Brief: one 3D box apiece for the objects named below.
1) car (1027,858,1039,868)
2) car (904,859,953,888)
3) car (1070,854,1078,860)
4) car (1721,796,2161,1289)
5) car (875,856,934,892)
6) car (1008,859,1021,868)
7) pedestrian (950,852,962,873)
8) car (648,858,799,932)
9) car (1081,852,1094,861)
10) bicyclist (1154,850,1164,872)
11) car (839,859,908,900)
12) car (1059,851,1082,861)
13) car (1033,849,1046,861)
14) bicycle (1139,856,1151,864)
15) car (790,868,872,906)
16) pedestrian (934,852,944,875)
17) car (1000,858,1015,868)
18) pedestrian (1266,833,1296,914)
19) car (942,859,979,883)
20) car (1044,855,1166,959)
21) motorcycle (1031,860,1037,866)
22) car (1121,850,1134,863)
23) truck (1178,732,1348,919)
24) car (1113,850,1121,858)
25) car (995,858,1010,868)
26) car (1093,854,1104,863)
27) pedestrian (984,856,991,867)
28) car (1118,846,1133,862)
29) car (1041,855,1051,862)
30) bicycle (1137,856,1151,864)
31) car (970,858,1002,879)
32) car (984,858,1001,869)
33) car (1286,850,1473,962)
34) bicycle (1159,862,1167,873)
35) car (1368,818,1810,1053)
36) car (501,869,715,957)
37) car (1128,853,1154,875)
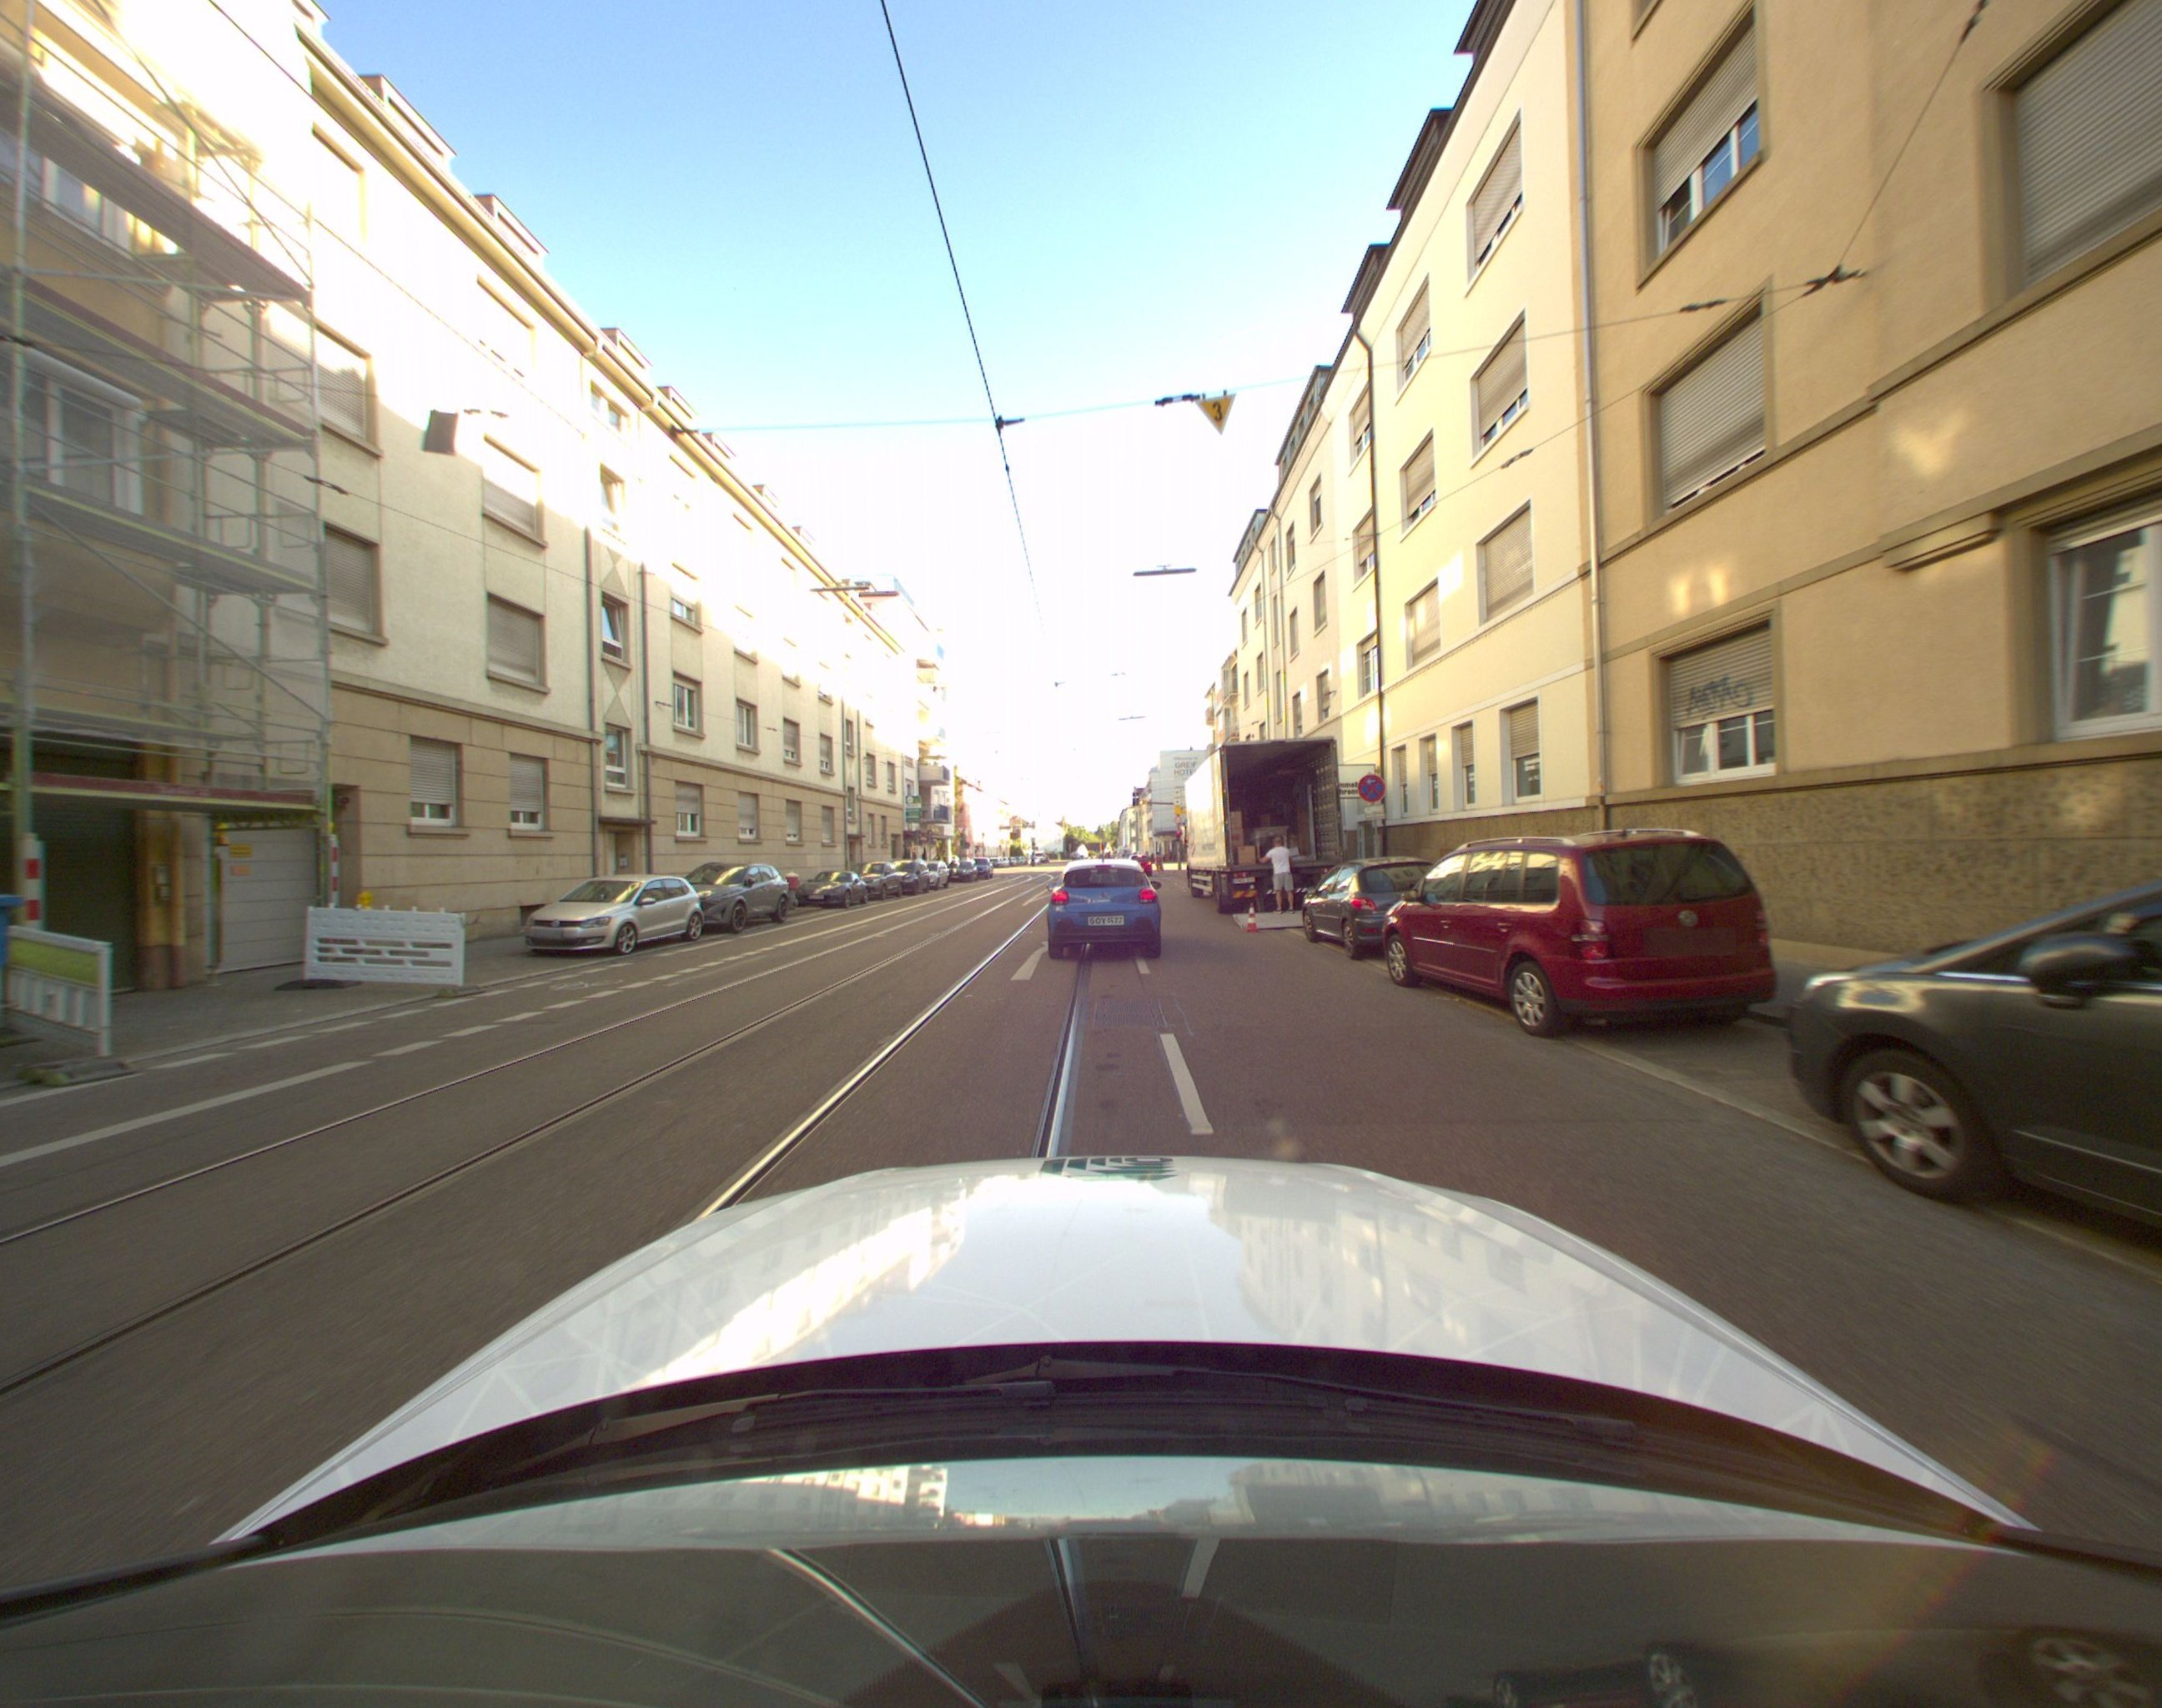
[{"bbox_3d":[-8.428,1.569,142.802,1.844,1.574,4.400,-1,0,0],"label":"car"},{"bbox_3d":[-8.127,1.019,43.658,1.693,1.509,4.387,0,-1,1],"label":"car"},{"bbox_3d":[-1.817,0.886,213.918,2.014,1.525,4.000,-1,0,1],"label":"car"},{"bbox_3d":[4.475,0.590,2.352,1.784,1.651,4.366,-3,0,0],"label":"car"},{"bbox_3d":[-8.146,0.907,37.990,1.693,1.615,4.245,0,-1,2],"label":"car"},{"bbox_3d":[-11.614,1.604,142.615,1.904,1.497,4.000,-2,0,1],"label":"car"},{"bbox_3d":[-9.142,0.607,59.638,0.694,1.548,0.722,-2,0,5],"label":"pedestrian"},{"bbox_3d":[-8.823,0.945,20.561,1.693,1.568,4.408,-2,0,2],"label":"car"},{"bbox_3d":[1.132,0.376,134.654,1.986,1.508,4.001,-2,0,2],"label":"car"},{"bbox_3d":[6.084,0.526,63.403,0.723,1.646,0.791,-2,0,4],"label":"bicyclist"},{"bbox_3d":[-8.510,1.008,33.720,1.693,1.569,4.002,0,-1,2],"label":"car"},{"bbox_3d":[-1.856,0.434,142.266,1.824,1.640,3.952,-2,0,-41],"label":"car"},{"bbox_3d":[-8.373,0.232,163.844,2.199,2.251,4.677,-2,0,1],"label":"car"},{"bbox_3d":[8.588,0.805,109.278,1.496,0.957,0.703,-2,0,6],"label":"bicycle"},{"bbox_3d":[-8.703,1.124,28.653,1.693,1.216,3.785,0,-1,0],"label":"car"},{"bbox_3d":[-12.227,0.824,70.109,0.684,2.013,0.486,-1,0,-2],"label":"pedestrian"},{"bbox_3d":[-11.806,1.448,130.871,1.904,1.497,4.000,-2,0,1],"label":"car"},{"bbox_3d":[4.443,0.432,18.139,0.511,1.775,0.416,-2,0,1],"label":"pedestrian"},{"bbox_3d":[-7.908,1.078,53.787,1.693,1.509,4.314,0,-1,2],"label":"car"},{"bbox_3d":[0.308,0.761,13.609,1.739,1.462,3.998,0,0,-1],"label":"car"},{"bbox_3d":[-6.449,1.235,111.707,0.613,0.864,1.673,-2,0,5],"label":"motorcycle"},{"bbox_3d":[6.296,0.344,110.996,1.726,1.750,3.215,-1,0,1],"label":"car"},{"bbox_3d":[4.779,-0.648,24.105,2.848,4.073,11.787,-2,0,3],"label":"truck"},{"bbox_3d":[7.798,0.055,175.185,1.682,1.618,4.002,-1,0,2],"label":"car"},{"bbox_3d":[-11.925,1.353,124.070,1.904,1.497,4.000,-2,0,1],"label":"car"},{"bbox_3d":[3.170,0.770,148.407,1.986,1.618,4.001,-1,0,2],"label":"car"},{"bbox_3d":[-14.126,1.130,122.875,0.839,1.690,0.739,-1,0,7],"label":"pedestrian"},{"bbox_3d":[6.271,0.025,115.935,1.986,2.325,4.001,-1,0,2],"label":"car"},{"bbox_3d":[-8.186,1.127,189.542,2.014,1.525,4.000,-1,0,1],"label":"car"},{"bbox_3d":[8.586,0.810,110.342,1.864,0.957,0.703,-2,0,6],"label":"bicycle"},{"bbox_3d":[-7.000,1.048,60.172,1.737,1.509,4.002,0,-1,2],"label":"car"},{"bbox_3d":[-12.295,1.356,113.704,1.905,1.433,3.999,-2,0,-1],"label":"car"},{"bbox_3d":[4.602,0.713,13.152,1.577,1.463,3.881,-3,0,1],"label":"car"},{"bbox_3d":[6.386,1.047,63.458,0.496,0.864,1.750,-2,0,2],"label":"bicycle"},{"bbox_3d":[4.412,0.585,7.987,1.587,1.609,4.245,-3,0,-1],"label":"car"},{"bbox_3d":[-8.988,1.040,15.931,1.693,1.416,4.002,2,-1,2],"label":"car"},{"bbox_3d":[4.199,0.654,56.906,1.730,1.420,4.005,-1,0,5],"label":"car"}]
